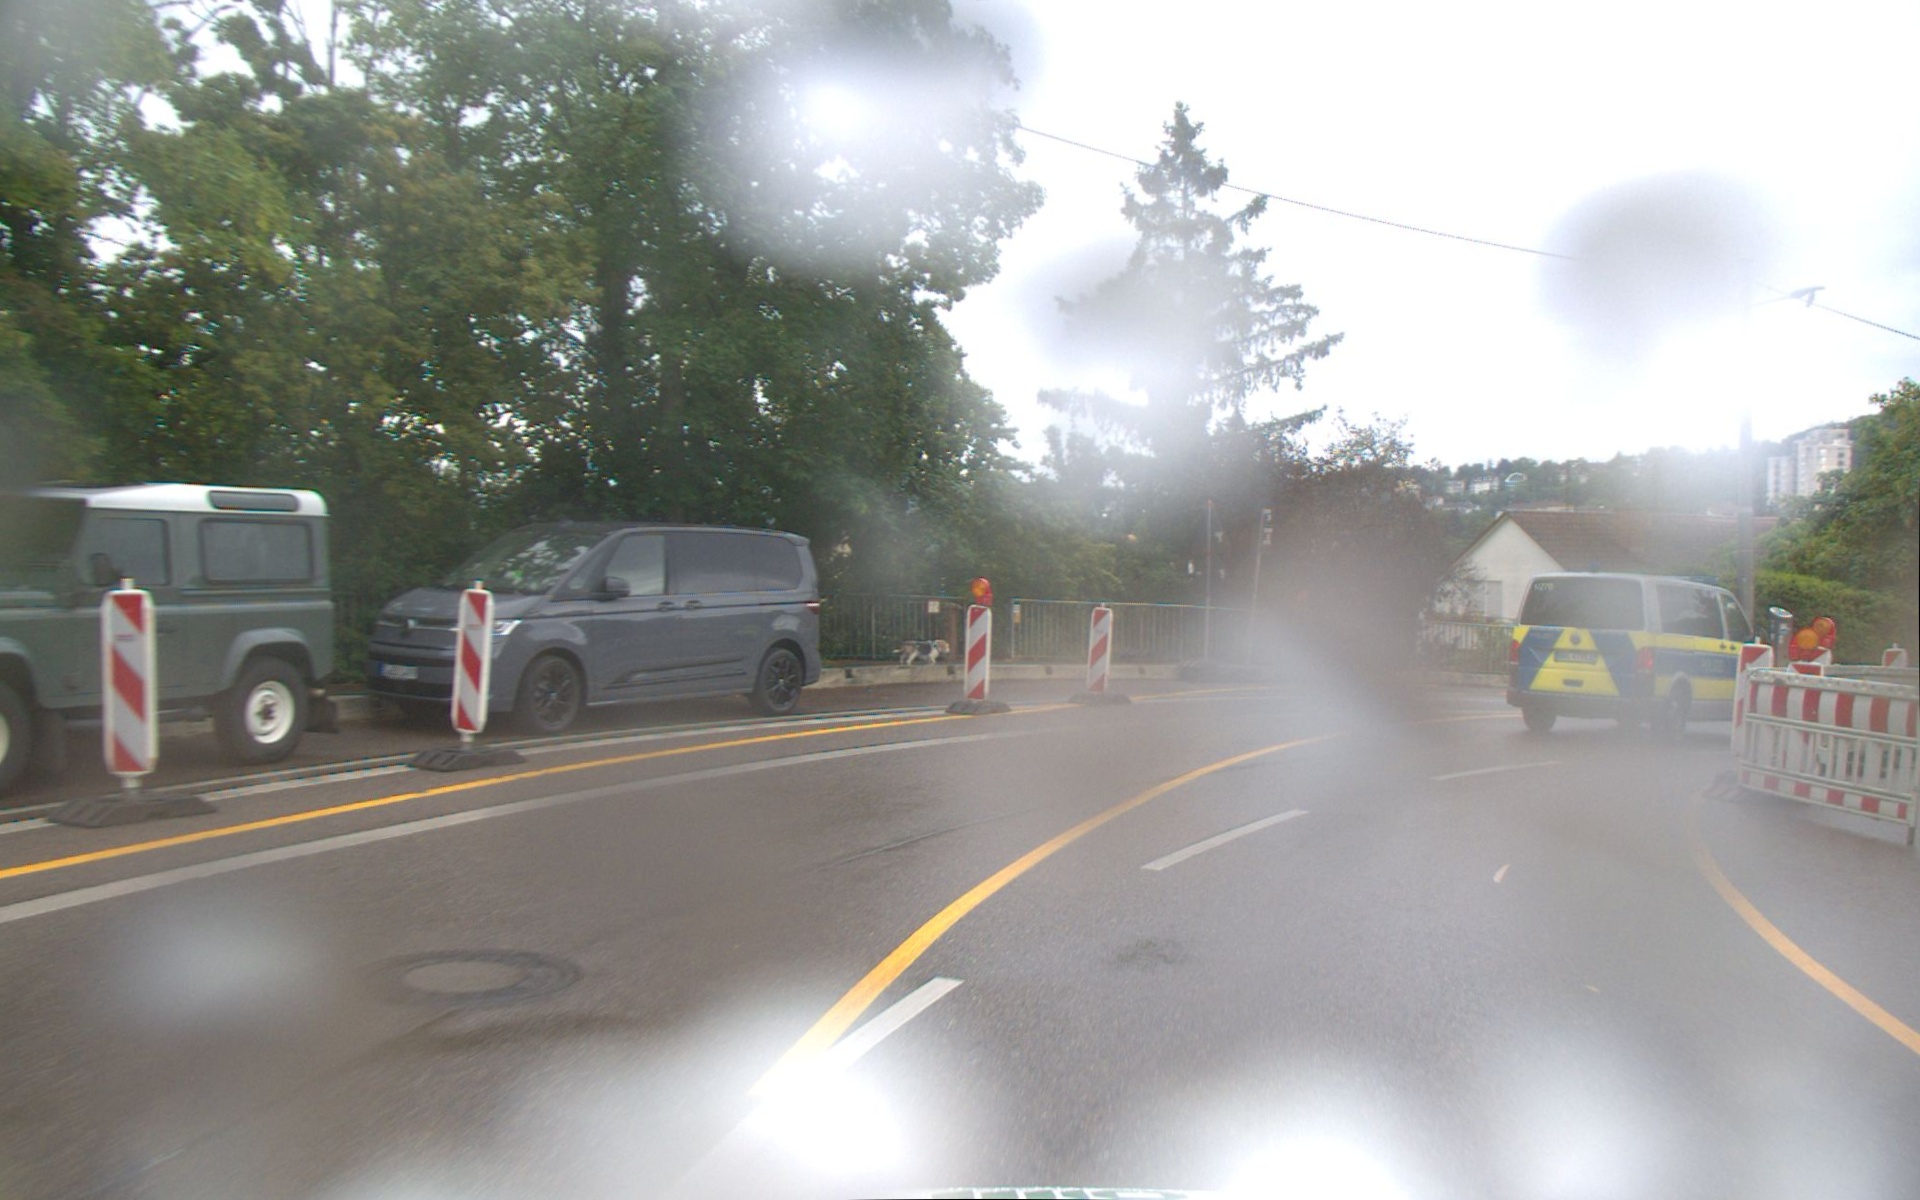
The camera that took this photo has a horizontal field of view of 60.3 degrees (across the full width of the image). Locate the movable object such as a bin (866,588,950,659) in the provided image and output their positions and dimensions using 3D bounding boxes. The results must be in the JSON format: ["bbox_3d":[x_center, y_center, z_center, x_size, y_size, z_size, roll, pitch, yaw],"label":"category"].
[{"bbox_3d":[-0.869,0.378,27.482,1.017,1.126,0.976,0,1,-38],"label":"movable object such as a bin"}]

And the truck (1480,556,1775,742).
[{"bbox_3d":[8.429,0.524,20.640,1.964,2.049,4.706,0,0,42],"label":"truck"}]

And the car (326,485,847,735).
[{"bbox_3d":[-3.442,0.075,16.259,1.960,2.048,4.932,3,1,35],"label":"car"}]

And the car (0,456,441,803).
[{"bbox_3d":[-5.951,0.119,11.703,1.826,2.048,4.815,2,1,19],"label":"car"}]

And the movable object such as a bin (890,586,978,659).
[{"bbox_3d":[-0.425,0.351,26.508,1.017,1.126,0.976,2,-1,-38],"label":"movable object such as a bin"}]
